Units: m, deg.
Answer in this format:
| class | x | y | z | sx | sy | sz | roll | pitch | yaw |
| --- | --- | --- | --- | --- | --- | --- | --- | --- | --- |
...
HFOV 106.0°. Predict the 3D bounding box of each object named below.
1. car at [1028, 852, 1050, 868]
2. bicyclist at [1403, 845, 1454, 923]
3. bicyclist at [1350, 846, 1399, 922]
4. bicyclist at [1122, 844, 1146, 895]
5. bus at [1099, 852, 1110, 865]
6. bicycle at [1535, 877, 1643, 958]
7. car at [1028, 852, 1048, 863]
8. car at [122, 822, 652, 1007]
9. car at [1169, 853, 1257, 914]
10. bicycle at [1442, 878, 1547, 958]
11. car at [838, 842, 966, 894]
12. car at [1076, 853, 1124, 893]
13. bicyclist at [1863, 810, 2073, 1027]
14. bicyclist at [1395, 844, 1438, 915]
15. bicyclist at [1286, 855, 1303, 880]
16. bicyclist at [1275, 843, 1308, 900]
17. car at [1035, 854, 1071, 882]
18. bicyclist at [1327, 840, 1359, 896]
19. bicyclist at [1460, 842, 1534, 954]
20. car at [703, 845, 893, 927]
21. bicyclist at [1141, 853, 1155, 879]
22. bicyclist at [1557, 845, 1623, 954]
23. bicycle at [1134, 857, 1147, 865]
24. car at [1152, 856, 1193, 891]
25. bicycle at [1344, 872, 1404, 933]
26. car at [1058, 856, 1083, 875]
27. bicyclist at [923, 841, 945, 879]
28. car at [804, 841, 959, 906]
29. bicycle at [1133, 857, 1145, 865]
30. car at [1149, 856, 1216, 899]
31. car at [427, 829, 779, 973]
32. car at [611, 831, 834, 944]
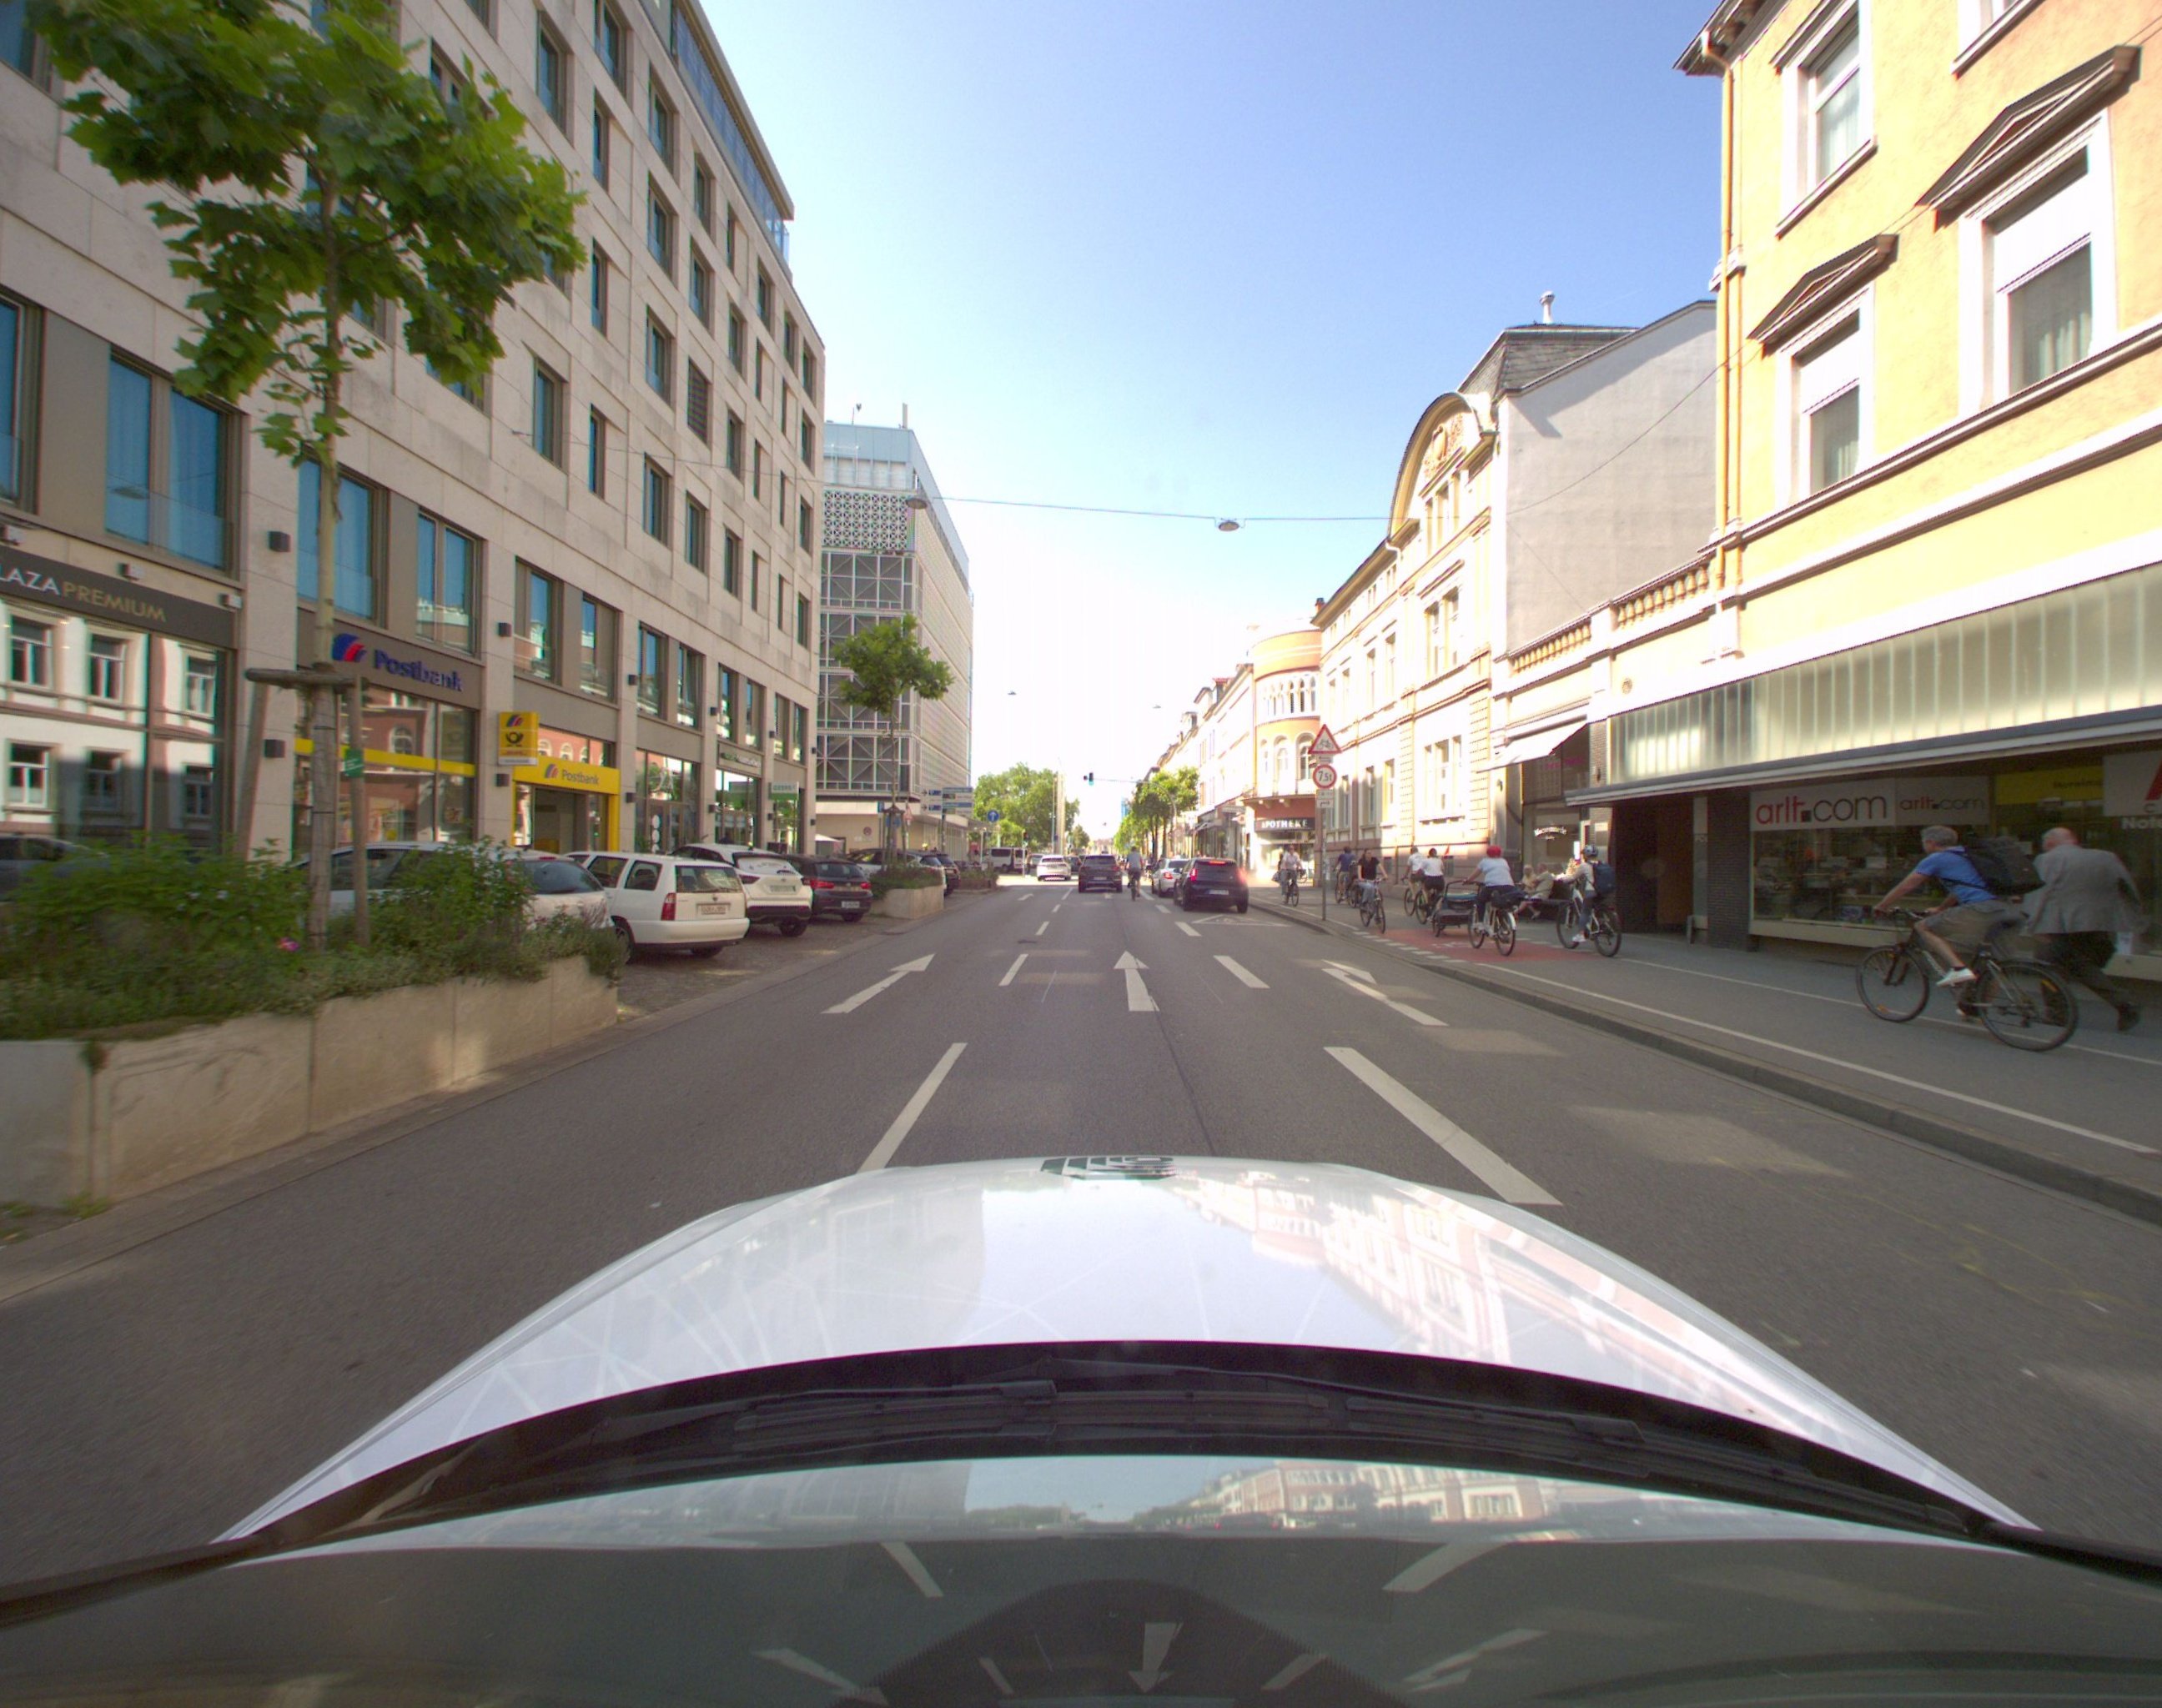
| class | x | y | z | sx | sy | sz | roll | pitch | yaw |
| --- | --- | --- | --- | --- | --- | --- | --- | --- | --- |
| car | -4.194 | 0.544 | 82.101 | 1.792 | 1.523 | 4.740 | 2 | 0 | 2 |
| bicyclist | 7.363 | 0.621 | 17.276 | 0.743 | 1.573 | 0.845 | 0 | 2 | 1 |
| bicyclist | 6.212 | 0.623 | 17.273 | 0.743 | 1.573 | 0.845 | 0 | -1 | 1 |
| bicyclist | 1.749 | 0.508 | 27.087 | 0.771 | 1.635 | 0.851 | 0 | 0 | 1 |
| bus | 6.613 | 1.355 | 234.195 | 2.984 | 3.594 | 11.745 | 1 | -1 | 1 |
| bicycle | 7.978 | 0.958 | 12.898 | 0.603 | 1.127 | 1.861 | -1 | 0 | 3 |
| car | -8.198 | 0.728 | 155.545 | 1.843 | 1.955 | 4.786 | 0 | -1 | 22 |
| car | -7.156 | 0.607 | 8.755 | 3.974 | 1.528 | 1.820 | 4 | -2 | 0 |
| car | 3.783 | 0.798 | 24.044 | 1.880 | 1.491 | 4.291 | 3 | 1 | 0 |
| bicycle | 6.671 | 0.992 | 13.271 | 0.732 | 1.127 | 2.035 | -1 | 0 | 3 |
| car | -6.396 | 0.497 | 29.164 | 3.986 | 1.603 | 1.969 | 3 | -1 | 24 |
| car | 0.726 | 0.726 | 33.796 | 1.840 | 1.559 | 3.998 | 0 | 0 | -1 |
| bicyclist | 7.454 | 0.518 | 6.899 | 0.835 | 1.717 | 0.845 | 0 | -1 | 1 |
| bicyclist | 8.134 | 0.597 | 19.772 | 0.569 | 1.661 | 1.160 | -1 | 1 | 3 |
| bicyclist | 12.127 | 0.758 | 46.239 | 0.855 | 1.411 | 0.501 | 0 | 0 | 2 |
| bicyclist | 6.387 | 0.529 | 24.720 | 0.743 | 1.703 | 1.036 | 0 | -1 | 2 |
| car | -1.562 | 0.756 | 46.751 | 1.839 | 1.560 | 4.002 | 0 | 0 | 2 |
| bicyclist | 7.941 | 0.424 | 24.698 | 0.728 | 1.673 | 0.775 | 0 | -1 | 2 |
| bicyclist | 6.649 | 0.684 | 13.061 | 0.680 | 1.717 | 0.845 | -3 | -1 | 1 |
| car | -6.426 | 0.666 | 18.354 | 4.264 | 1.449 | 1.798 | 4 | 0 | 35 |
| bicyclist | 3.861 | 0.676 | 47.031 | 0.696 | 1.440 | 0.790 | 2 | -1 | -2 |
| bicyclist | 7.932 | 0.693 | 12.719 | 0.513 | 1.636 | 0.845 | 0 | -1 | 2 |
| bicycle | 7.742 | 0.918 | 106.099 | 1.721 | 1.109 | 0.403 | 1 | -1 | 3 |
| car | 4.269 | 0.894 | 37.614 | 1.618 | 1.478 | 3.741 | 1 | -1 | 10 |
| bicycle | 6.198 | 0.995 | 17.343 | 0.592 | 1.127 | 2.095 | -1 | 1 | 3 |
| car | -0.796 | 0.891 | 64.422 | 1.839 | 1.449 | 4.000 | 0 | 0 | 1 |
| bicyclist | -7.573 | 0.313 | 42.053 | 0.837 | 1.960 | 1.019 | 0 | -1 | 7 |
| car | -6.240 | 0.594 | 25.752 | 4.133 | 1.637 | 2.108 | 4 | 0 | 9 |
| bicycle | 7.996 | 0.981 | 111.716 | 1.642 | 1.095 | 0.607 | 1 | 0 | 3 |
| car | 3.771 | 0.820 | 31.098 | 1.946 | 1.425 | 4.886 | 2 | 0 | 0 |
| car | -6.876 | 0.586 | 11.751 | 4.450 | 1.432 | 1.872 | 5 | 0 | 20 |
| car | -6.720 | 0.556 | 15.157 | 3.987 | 1.593 | 1.830 | 6 | 0 | 34 |
